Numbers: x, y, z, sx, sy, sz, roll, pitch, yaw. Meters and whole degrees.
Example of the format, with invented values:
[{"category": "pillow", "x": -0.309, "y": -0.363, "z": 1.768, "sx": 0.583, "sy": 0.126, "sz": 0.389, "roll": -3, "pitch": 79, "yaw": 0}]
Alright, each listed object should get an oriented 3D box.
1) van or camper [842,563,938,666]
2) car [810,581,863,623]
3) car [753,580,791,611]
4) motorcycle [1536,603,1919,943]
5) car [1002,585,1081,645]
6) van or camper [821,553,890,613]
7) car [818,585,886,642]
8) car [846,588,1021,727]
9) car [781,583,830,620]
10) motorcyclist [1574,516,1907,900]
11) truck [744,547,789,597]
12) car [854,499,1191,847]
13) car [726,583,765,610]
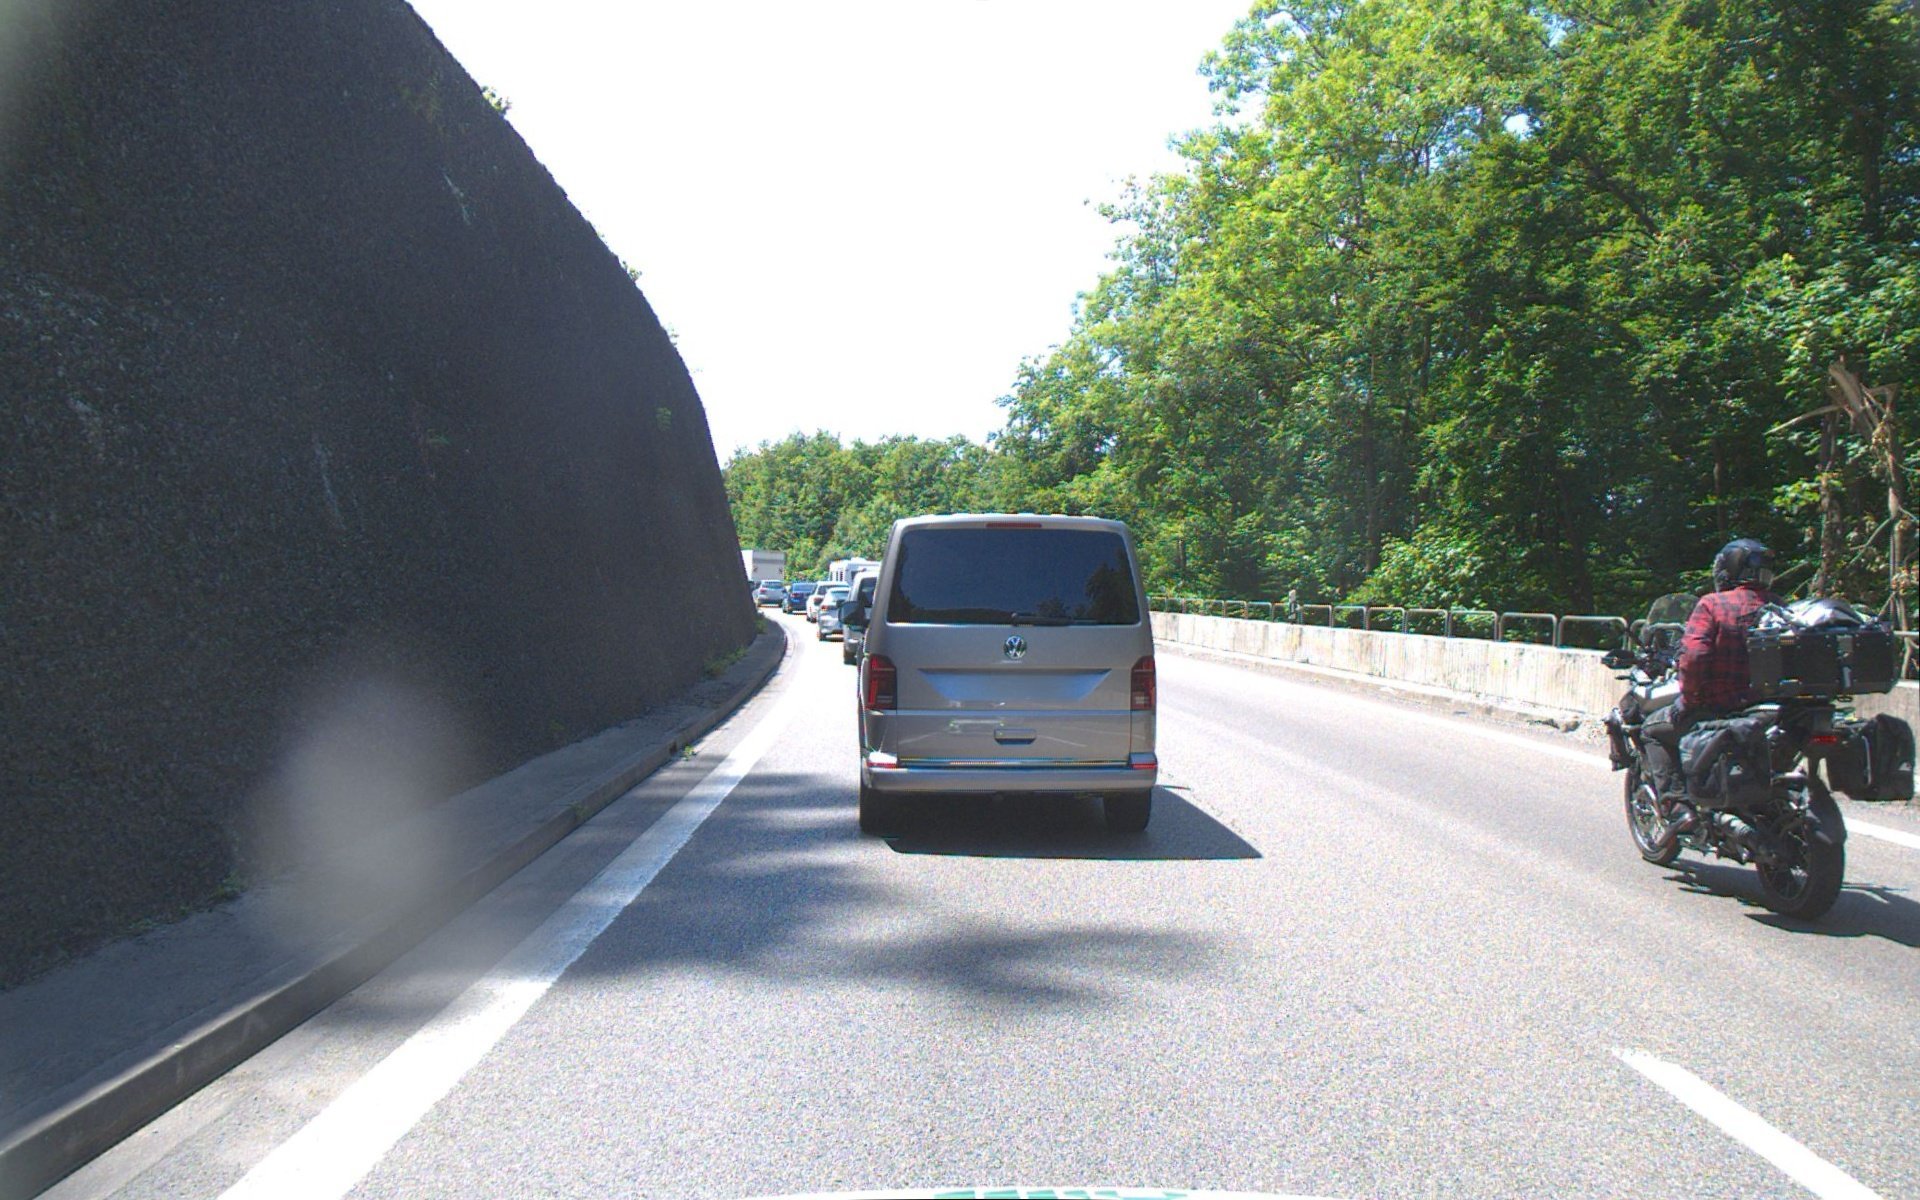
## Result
[{"category": "van or camper", "x": -1.483, "y": 0.266, "z": 33.791, "sx": 1.817, "sy": 1.976, "sz": 4.161, "roll": 0, "pitch": 0, "yaw": -4}, {"category": "car", "x": -4.771, "y": 0.060, "z": 63.331, "sx": 1.827, "sy": 1.512, "sz": 3.994, "roll": 1, "pitch": 0, "yaw": -7}, {"category": "car", "x": -10.386, "y": -0.287, "z": 91.402, "sx": 1.956, "sy": 1.646, "sz": 3.993, "roll": 1, "pitch": 0, "yaw": -8}, {"category": "motorcycle", "x": 3.984, "y": 0.759, "z": 8.539, "sx": 0.953, "sy": 1.444, "sz": 2.679, "roll": 1, "pitch": 0, "yaw": -3}, {"category": "car", "x": 2.152, "y": 0.367, "z": 44.758, "sx": 1.651, "sy": 1.484, "sz": 3.997, "roll": 2, "pitch": 0, "yaw": -4}, {"category": "van or camper", "x": -5.728, "y": -0.966, "z": 90.159, "sx": 2.559, "sy": 2.904, "sz": 6.315, "roll": 5, "pitch": 0, "yaw": -13}, {"category": "car", "x": -3.040, "y": 0.337, "z": 45.811, "sx": 1.737, "sy": 1.498, "sz": 3.995, "roll": 1, "pitch": 0, "yaw": -6}, {"category": "car", "x": -0.448, "y": 0.638, "z": 20.974, "sx": 1.868, "sy": 1.515, "sz": 4.374, "roll": 2, "pitch": 0, "yaw": -5}, {"category": "car", "x": -7.237, "y": 0.065, "z": 77.164, "sx": 1.825, "sy": 1.648, "sz": 3.989, "roll": 1, "pitch": 0, "yaw": -11}, {"category": "motorcyclist", "x": 3.996, "y": 0.517, "z": 8.605, "sx": 1.039, "sy": 1.832, "sz": 1.337, "roll": 1, "pitch": 0, "yaw": -3}, {"category": "truck", "x": -15.062, "y": -2.117, "z": 128.362, "sx": 2.873, "sy": 3.751, "sz": 7.703, "roll": 0, "pitch": 0, "yaw": -11}, {"category": "car", "x": 0.316, "y": 0.404, "z": 11.874, "sx": 1.901, "sy": 1.965, "sz": 4.693, "roll": 1, "pitch": 0, "yaw": -1}, {"category": "car", "x": -13.485, "y": -0.255, "z": 103.969, "sx": 1.724, "sy": 1.598, "sz": 3.752, "roll": 2, "pitch": 0, "yaw": -18}]
